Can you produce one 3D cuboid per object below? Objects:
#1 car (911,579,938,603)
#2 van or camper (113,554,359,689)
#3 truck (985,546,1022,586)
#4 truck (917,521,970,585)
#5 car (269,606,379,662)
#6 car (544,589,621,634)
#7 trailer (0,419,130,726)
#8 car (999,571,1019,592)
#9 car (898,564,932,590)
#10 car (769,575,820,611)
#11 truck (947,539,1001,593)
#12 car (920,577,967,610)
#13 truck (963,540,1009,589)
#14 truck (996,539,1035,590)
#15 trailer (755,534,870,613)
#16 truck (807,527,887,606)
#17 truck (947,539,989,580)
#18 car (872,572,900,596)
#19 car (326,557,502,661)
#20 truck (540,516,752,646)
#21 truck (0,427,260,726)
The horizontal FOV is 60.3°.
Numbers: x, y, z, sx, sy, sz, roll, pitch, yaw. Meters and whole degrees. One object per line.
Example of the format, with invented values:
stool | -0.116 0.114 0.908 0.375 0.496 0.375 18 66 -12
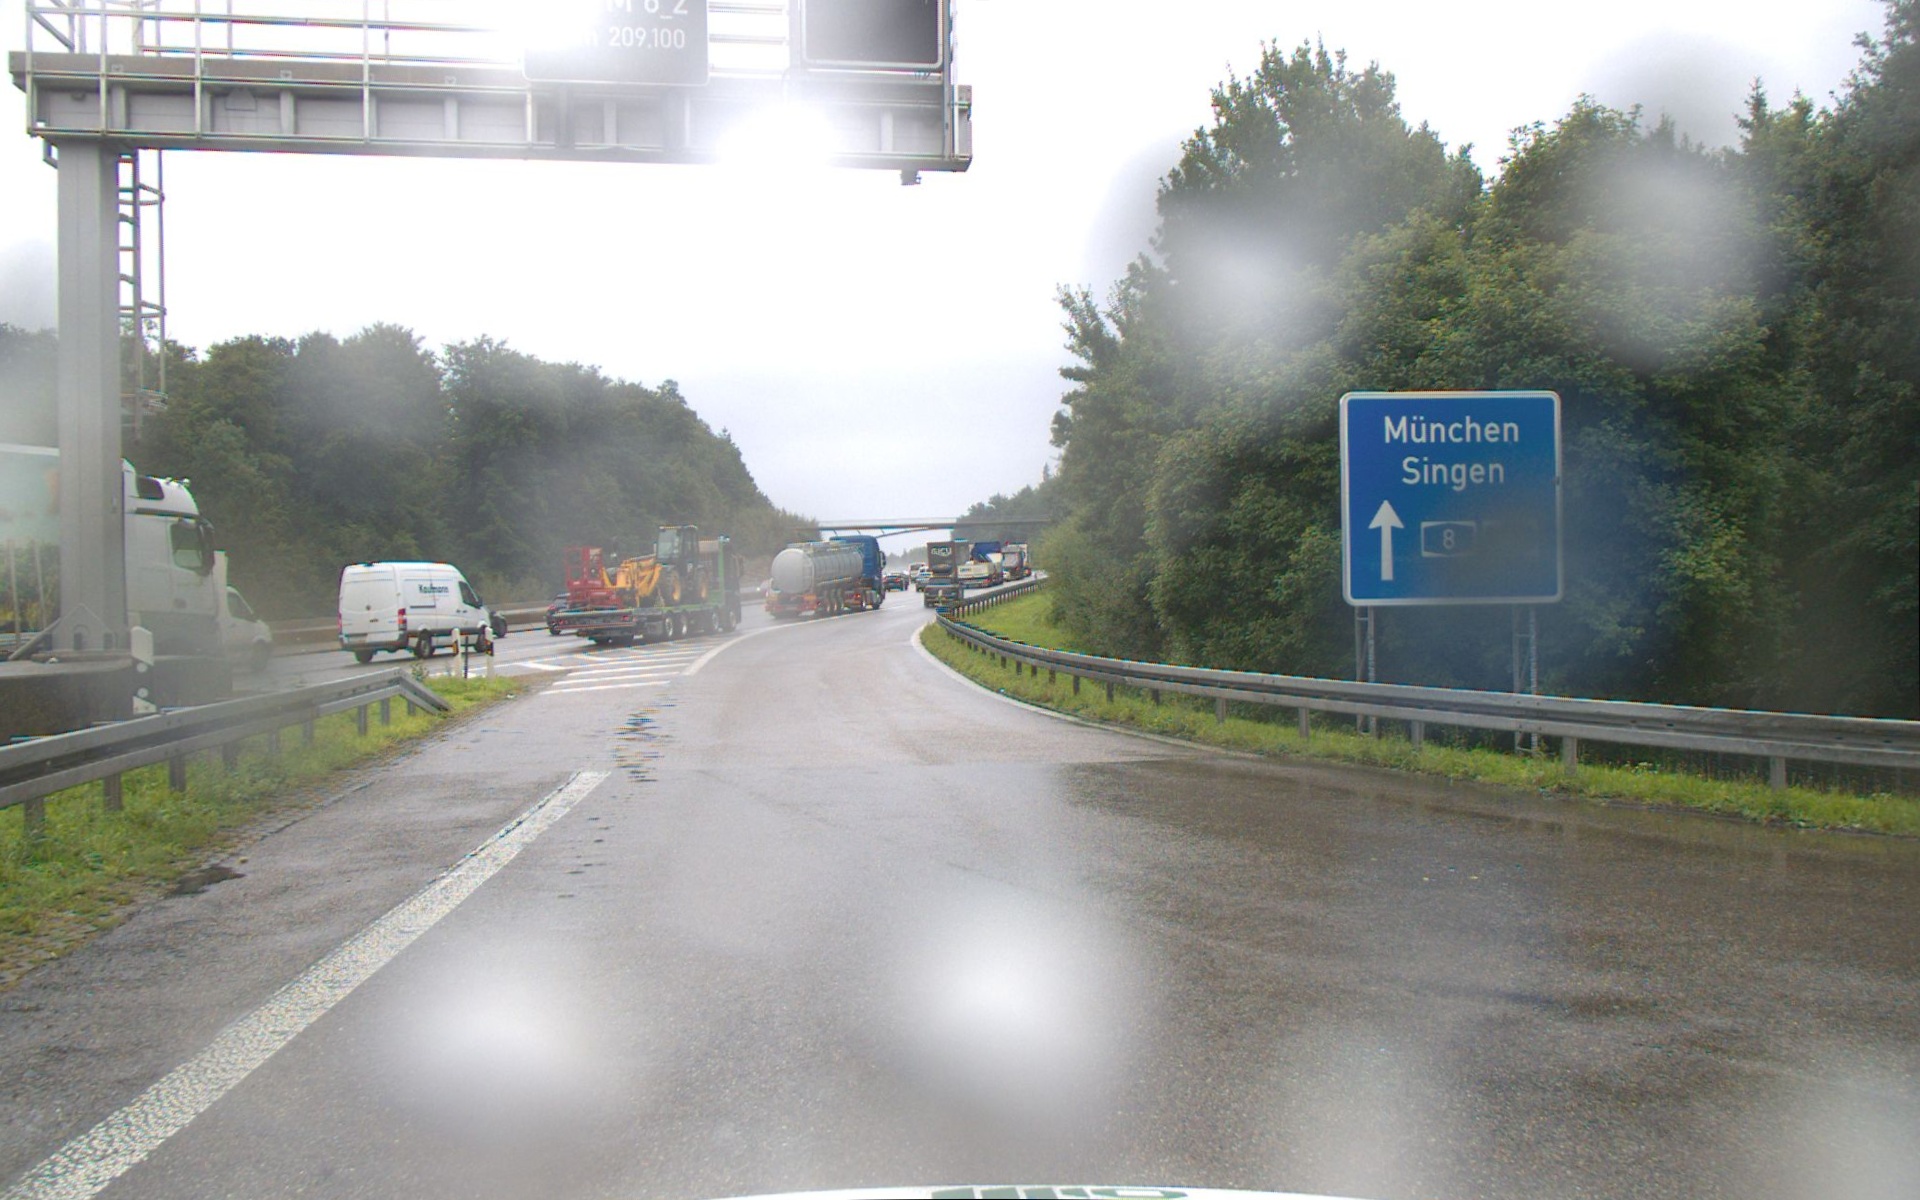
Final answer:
car | -2.829 -0.716 132.661 1.760 1.937 4.002 1 0 5
van or camper | -19.322 0.491 44.717 2.524 3.259 7.137 -2 1 9
truck | 4.791 -3.566 178.522 3.676 4.040 11.063 1 0 3
truck | -1.444 -4.274 153.715 3.675 5.595 10.180 1 0 6
car | -22.269 1.161 58.055 1.738 1.735 4.004 -2 1 10
car | -15.407 0.471 67.723 1.748 1.757 4.003 1 0 7
trailer | -15.585 -0.285 19.114 2.856 4.278 13.648 -2 0 11
car | 4.887 -1.816 164.488 1.760 1.937 4.002 -2 0 5
car | -5.411 -2.764 199.680 3.177 3.055 6.778 1 0 6
car | -8.727 -0.396 87.333 1.781 1.797 4.004 -2 1 7
truck | 1.279 -2.902 139.922 3.524 4.176 11.568 -3 1 5
car | -0.836 -0.318 85.915 1.951 1.665 4.003 1 0 6
truck | 2.532 -3.262 155.968 3.433 4.342 10.610 1 0 5
truck | 6.799 -4.291 201.877 4.245 5.864 9.735 1 0 4
trailer | -6.713 -1.306 77.143 2.812 3.345 10.088 -2 1 9
truck | -5.659 -1.732 83.835 2.815 3.757 5.061 -2 1 9
truck | 0.928 -4.506 186.159 3.500 4.167 10.887 -2 0 6
car | -6.255 -1.329 140.166 1.759 1.937 4.003 -2 0 6
car | -15.360 0.196 46.992 2.168 2.675 5.849 -2 1 10
truck | -9.959 -0.686 54.383 2.771 3.650 11.809 -3 1 9
truck | -14.326 -0.312 25.836 2.856 4.170 6.725 -2 0 11
